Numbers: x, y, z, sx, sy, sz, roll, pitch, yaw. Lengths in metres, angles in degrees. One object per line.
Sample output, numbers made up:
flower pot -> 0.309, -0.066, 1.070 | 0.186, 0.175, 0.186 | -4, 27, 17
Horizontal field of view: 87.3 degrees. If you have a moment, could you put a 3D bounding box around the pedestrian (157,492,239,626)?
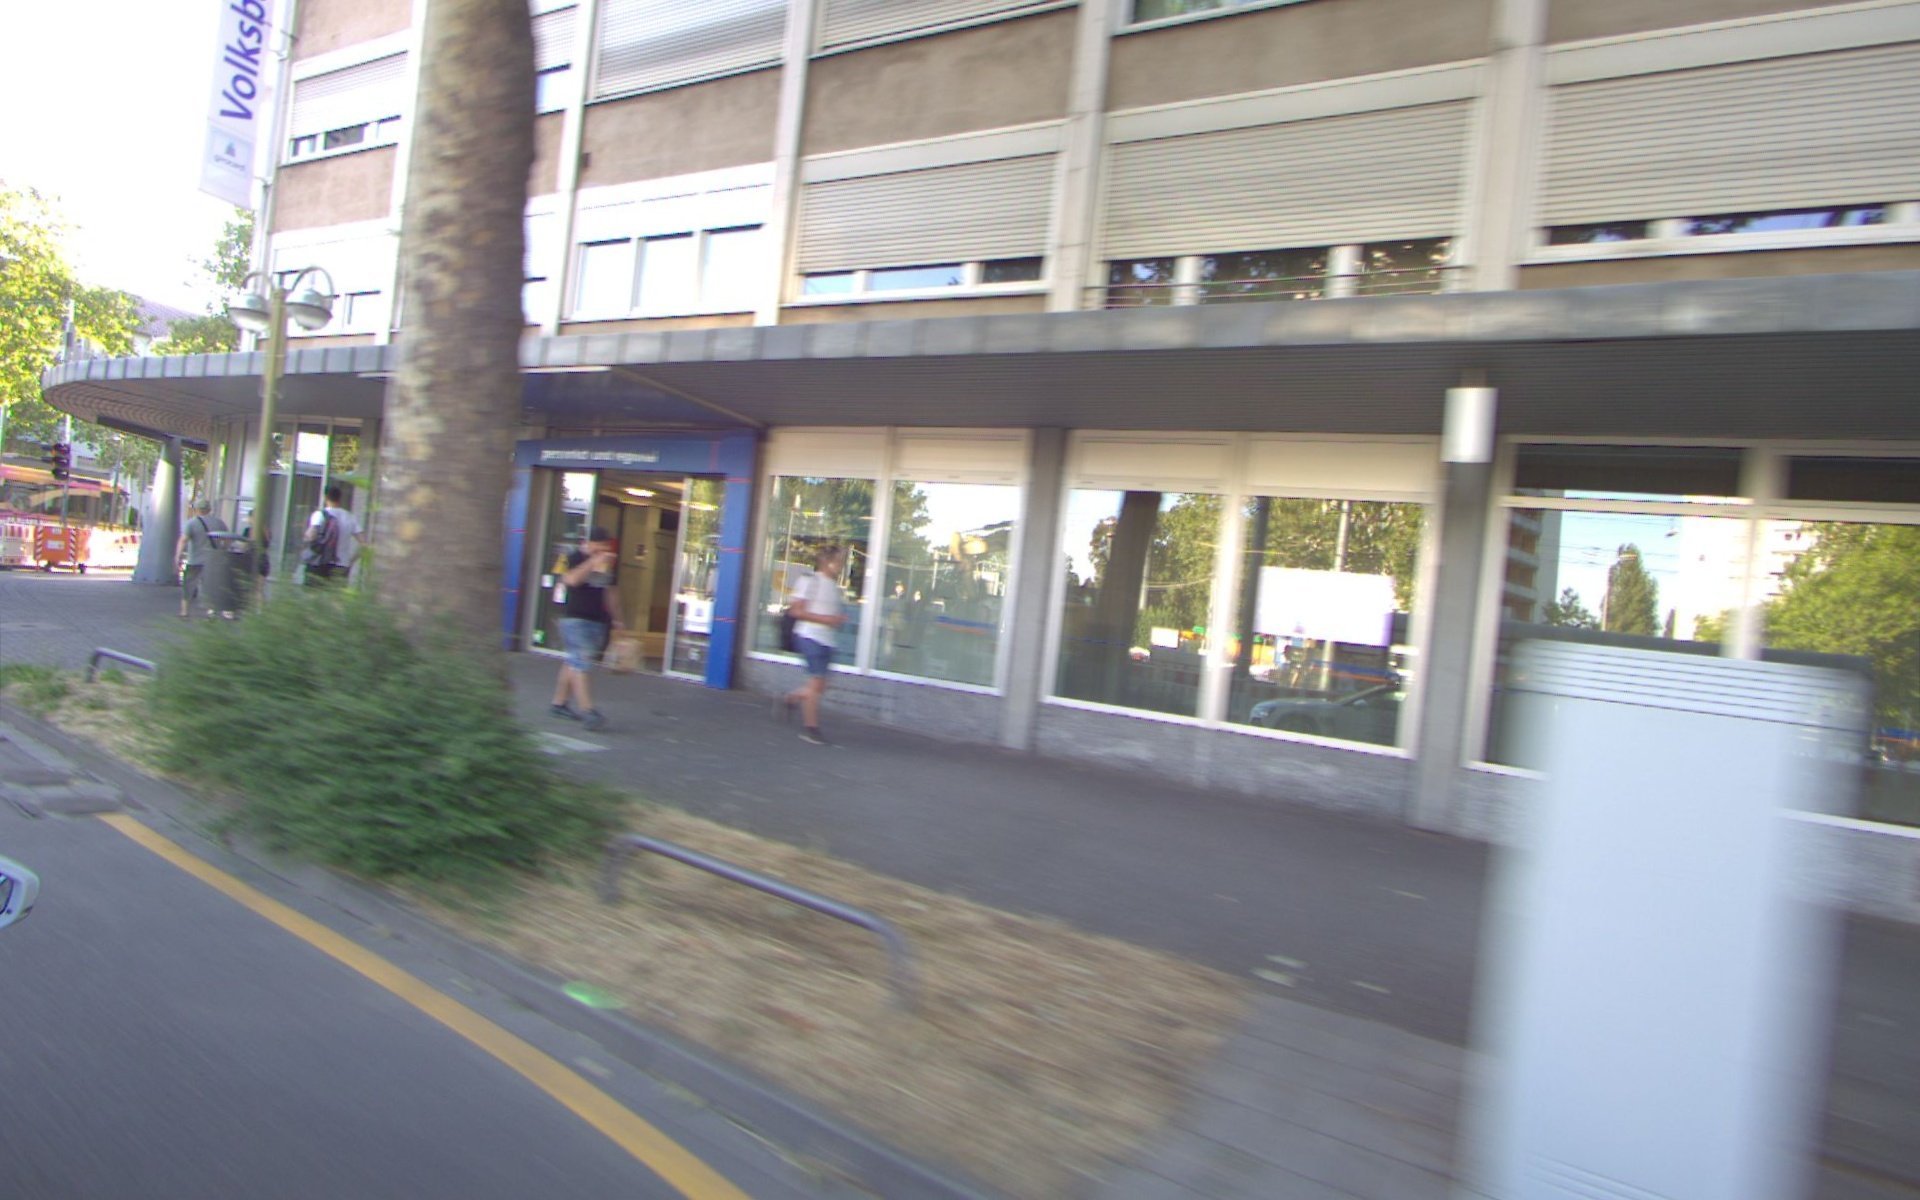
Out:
pedestrian -> -10.340, -0.548, 13.657 | 0.667, 1.731, 0.583 | 7, 3, 28

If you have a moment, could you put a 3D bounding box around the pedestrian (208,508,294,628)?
pedestrian -> -10.069, -0.446, 14.298 | 0.761, 1.594, 0.633 | 8, 3, 28

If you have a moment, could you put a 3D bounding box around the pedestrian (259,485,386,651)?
pedestrian -> -7.841, -0.401, 12.371 | 1.080, 1.896, 0.838 | 7, 4, 28

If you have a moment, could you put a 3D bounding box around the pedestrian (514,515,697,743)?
pedestrian -> -2.999, 0.220, 8.537 | 1.052, 1.734, 0.899 | 7, 4, 28

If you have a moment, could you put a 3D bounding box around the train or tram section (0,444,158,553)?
train or tram section -> -39.096, -4.488, 38.375 | 2.602, 3.560, 13.332 | 6, -2, 25

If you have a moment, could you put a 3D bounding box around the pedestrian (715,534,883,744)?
pedestrian -> -1.453, 0.325, 9.148 | 1.052, 1.720, 0.899 | 7, 3, 28
